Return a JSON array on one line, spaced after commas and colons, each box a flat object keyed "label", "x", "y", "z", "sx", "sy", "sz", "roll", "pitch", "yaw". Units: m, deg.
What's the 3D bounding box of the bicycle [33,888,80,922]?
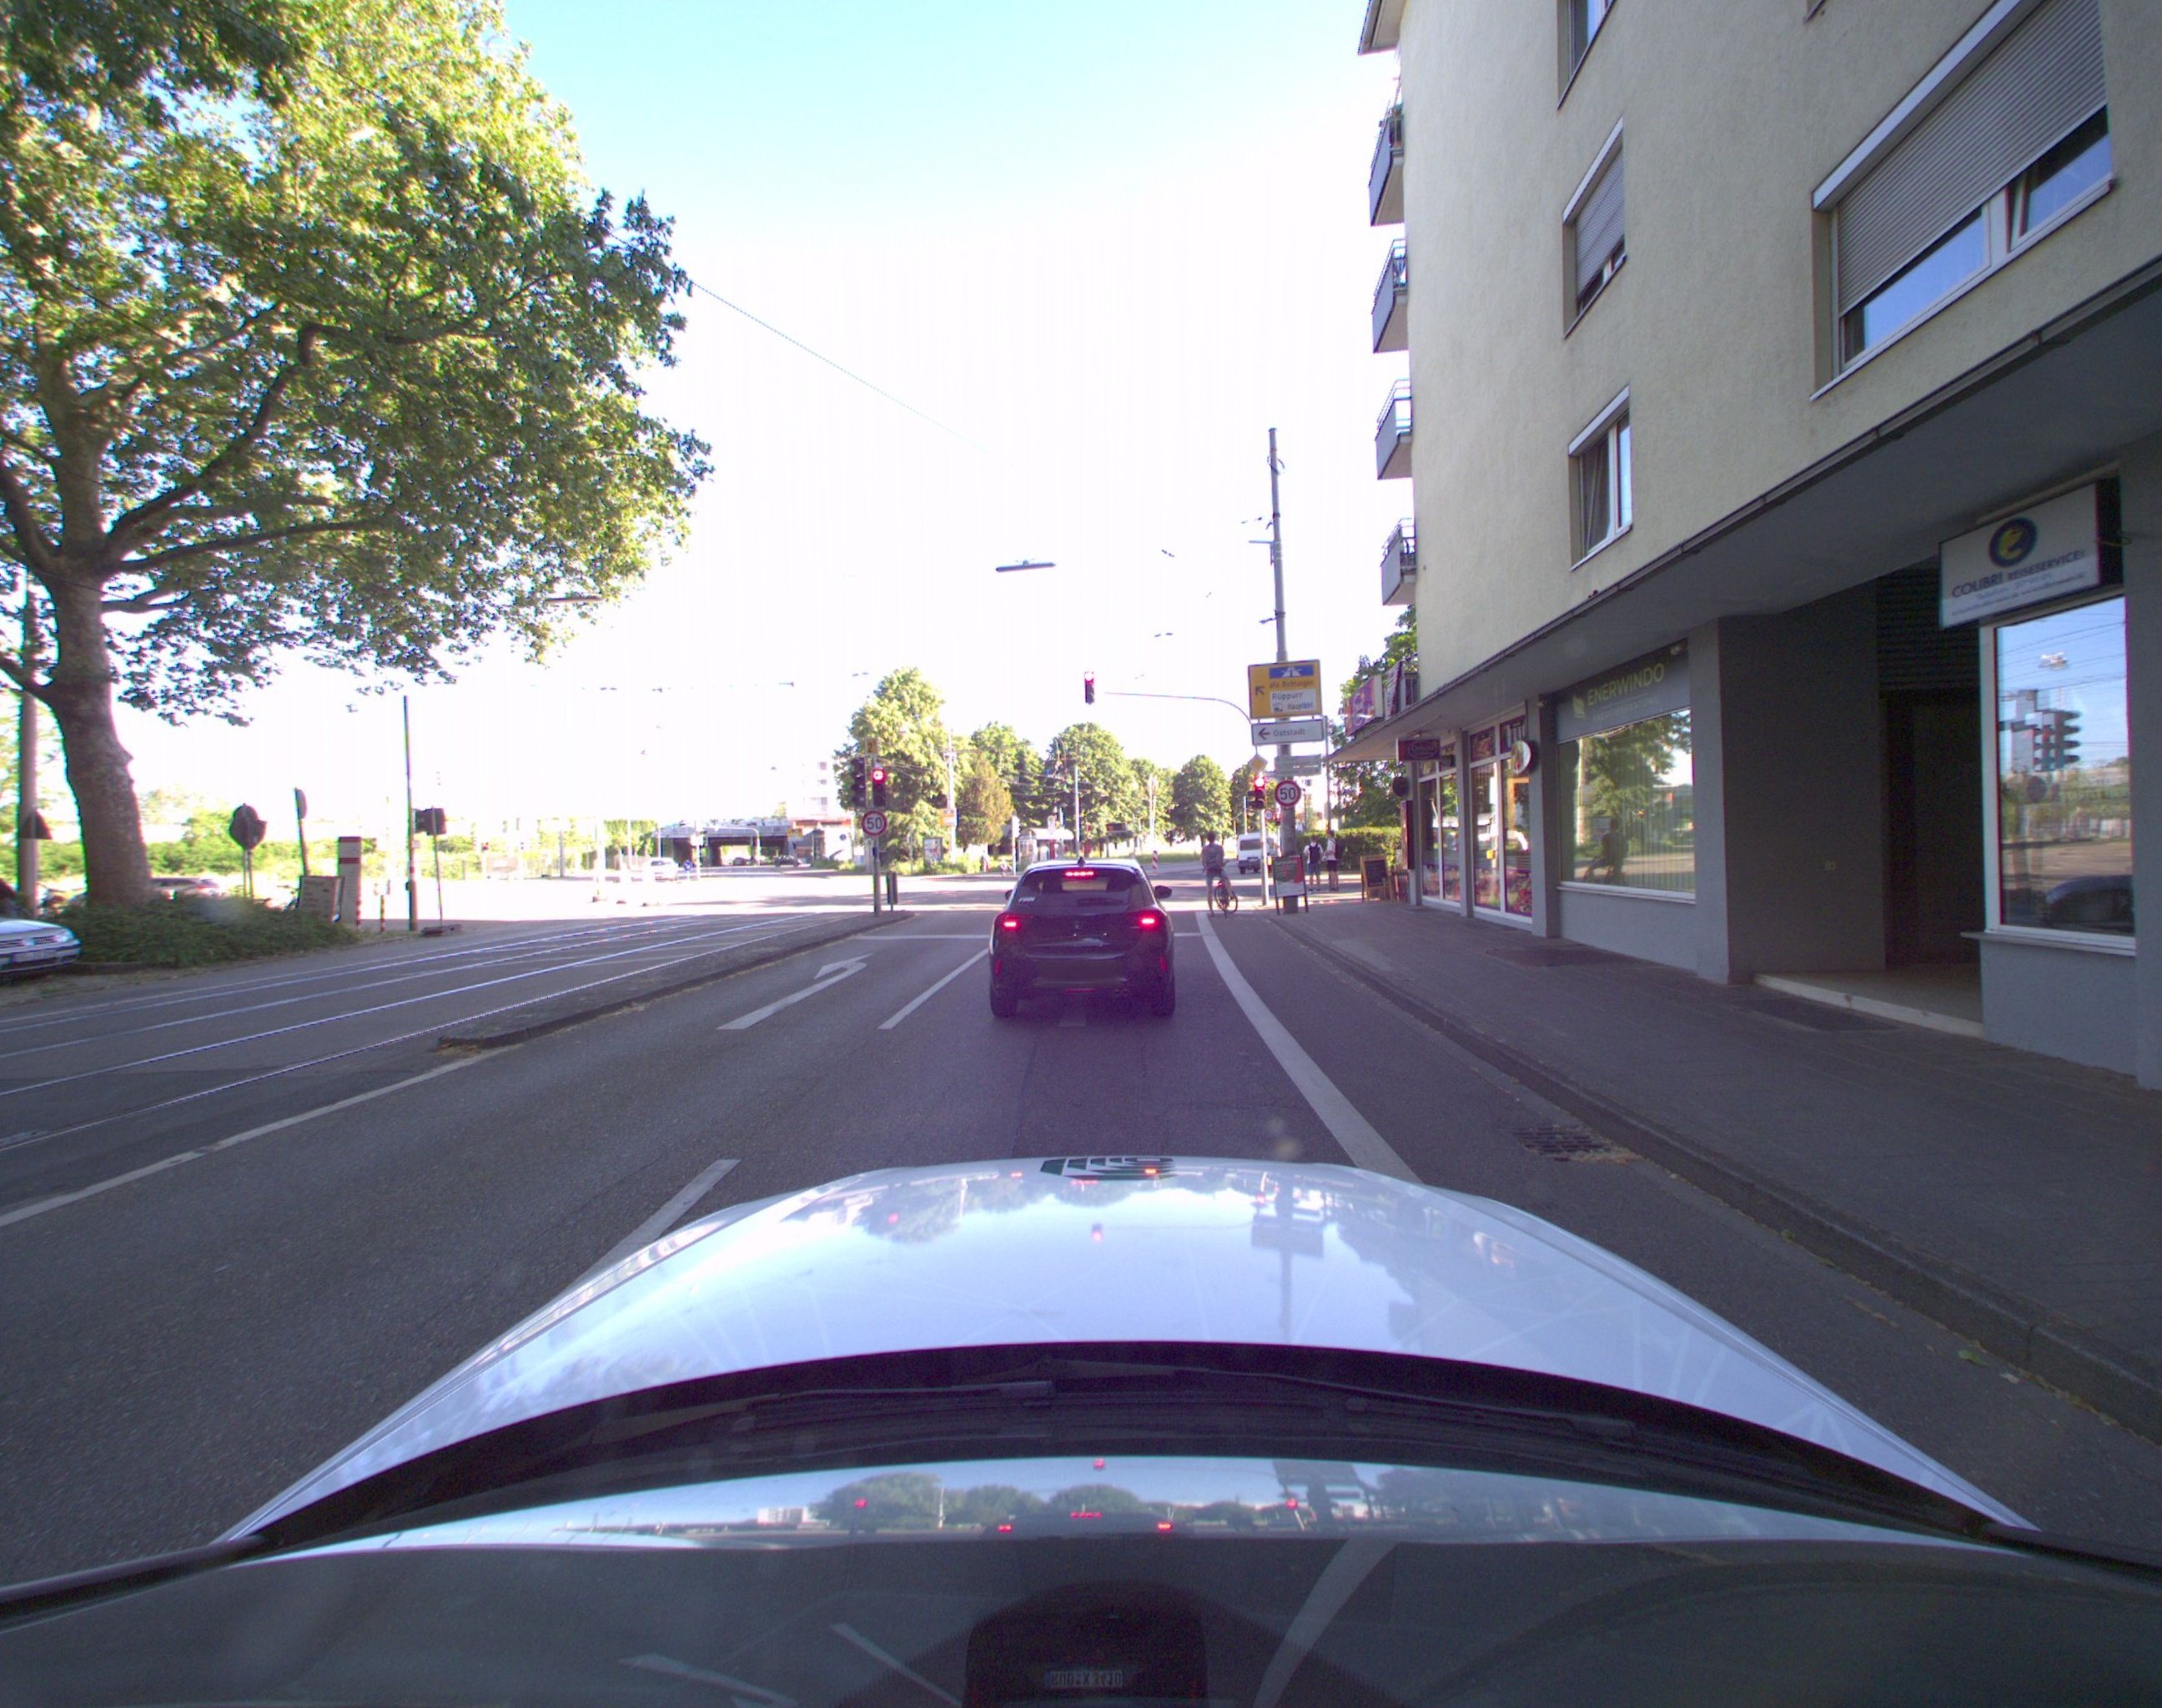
[{"label": "bicycle", "x": -25.061, "y": 1.228, "z": 19.930, "sx": 0.360, "sy": 0.759, "sz": 1.759, "roll": -2, "pitch": 0, "yaw": -40}]

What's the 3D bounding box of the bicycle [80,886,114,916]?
[{"label": "bicycle", "x": -26.319, "y": 1.251, "z": 21.780, "sx": 1.757, "sy": 0.759, "sz": 0.360, "roll": -1, "pitch": 0, "yaw": 32}]

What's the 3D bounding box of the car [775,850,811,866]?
[{"label": "car", "x": -38.119, "y": 0.528, "z": 107.855, "sx": 3.969, "sy": 2.014, "sz": 2.002, "roll": 0, "pitch": -1, "yaw": 4}]

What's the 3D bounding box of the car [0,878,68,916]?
[{"label": "car", "x": -48.397, "y": 1.932, "z": 36.003, "sx": 4.006, "sy": 1.419, "sz": 1.880, "roll": -1, "pitch": 6, "yaw": -25}]

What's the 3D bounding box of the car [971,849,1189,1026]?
[{"label": "car", "x": 0.106, "y": 0.693, "z": 8.817, "sx": 1.793, "sy": 1.441, "sz": 3.943, "roll": -2, "pitch": 0, "yaw": 3}]

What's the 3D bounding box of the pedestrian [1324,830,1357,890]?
[{"label": "pedestrian", "x": 8.119, "y": 0.181, "z": 25.480, "sx": 0.696, "sy": 1.846, "sz": 0.705, "roll": -2, "pitch": 0, "yaw": 41}]

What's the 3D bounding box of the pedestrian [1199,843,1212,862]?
[{"label": "pedestrian", "x": 12.222, "y": -0.151, "z": 79.938, "sx": 0.949, "sy": 1.793, "sz": 1.002, "roll": -2, "pitch": 0, "yaw": 27}]

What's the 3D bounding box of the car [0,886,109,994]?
[{"label": "car", "x": -16.669, "y": 1.202, "z": 11.324, "sx": 3.980, "sy": 1.417, "sz": 1.701, "roll": 0, "pitch": -1, "yaw": -5}]

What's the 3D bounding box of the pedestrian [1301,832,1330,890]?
[{"label": "pedestrian", "x": 7.335, "y": 0.214, "z": 25.472, "sx": 0.696, "sy": 1.792, "sz": 0.617, "roll": -2, "pitch": 0, "yaw": 1}]

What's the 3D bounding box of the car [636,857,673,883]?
[{"label": "car", "x": -29.624, "y": 1.079, "z": 56.468, "sx": 2.006, "sy": 1.631, "sz": 4.585, "roll": -2, "pitch": 1, "yaw": -30}]

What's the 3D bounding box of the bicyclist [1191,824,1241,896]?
[{"label": "bicyclist", "x": 2.955, "y": 0.118, "z": 17.930, "sx": 0.837, "sy": 1.510, "sz": 1.368, "roll": -2, "pitch": 0, "yaw": 0}]

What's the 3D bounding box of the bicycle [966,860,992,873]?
[{"label": "bicycle", "x": -8.050, "y": 0.975, "z": 64.185, "sx": 1.866, "sy": 0.906, "sz": 0.661, "roll": -2, "pitch": 0, "yaw": 8}]

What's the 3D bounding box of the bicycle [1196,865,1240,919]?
[{"label": "bicycle", "x": 2.986, "y": 0.796, "z": 17.919, "sx": 0.665, "sy": 1.059, "sz": 2.083, "roll": -2, "pitch": 0, "yaw": 2}]

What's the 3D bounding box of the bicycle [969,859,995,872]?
[{"label": "bicycle", "x": -7.924, "y": 0.922, "z": 65.168, "sx": 1.866, "sy": 0.906, "sz": 0.661, "roll": -2, "pitch": 0, "yaw": 8}]

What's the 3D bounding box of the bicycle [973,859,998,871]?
[{"label": "bicycle", "x": -7.747, "y": 0.927, "z": 66.035, "sx": 1.866, "sy": 0.906, "sz": 0.661, "roll": -2, "pitch": 0, "yaw": 8}]

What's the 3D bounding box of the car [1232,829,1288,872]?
[{"label": "car", "x": 10.144, "y": -0.177, "z": 45.933, "sx": 2.070, "sy": 2.277, "sz": 4.331, "roll": -1, "pitch": -1, "yaw": 26}]

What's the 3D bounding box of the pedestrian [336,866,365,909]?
[{"label": "pedestrian", "x": -27.817, "y": 1.260, "z": 31.020, "sx": 0.602, "sy": 1.596, "sz": 0.679, "roll": 0, "pitch": -1, "yaw": -24}]

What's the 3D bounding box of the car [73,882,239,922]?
[{"label": "car", "x": -40.251, "y": 2.035, "z": 35.610, "sx": 4.320, "sy": 1.531, "sz": 2.076, "roll": 0, "pitch": -1, "yaw": -31}]

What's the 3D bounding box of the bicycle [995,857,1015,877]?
[{"label": "bicycle", "x": -4.363, "y": 0.748, "z": 46.879, "sx": 0.821, "sy": 1.059, "sz": 1.885, "roll": -2, "pitch": 0, "yaw": 4}]

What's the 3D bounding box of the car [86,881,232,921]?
[{"label": "car", "x": -43.145, "y": 2.177, "z": 38.242, "sx": 4.006, "sy": 1.419, "sz": 1.880, "roll": -1, "pitch": 6, "yaw": -25}]

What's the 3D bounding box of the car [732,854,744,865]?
[{"label": "car", "x": -64.943, "y": 1.010, "z": 154.206, "sx": 2.003, "sy": 2.014, "sz": 3.967, "roll": 0, "pitch": -1, "yaw": -25}]

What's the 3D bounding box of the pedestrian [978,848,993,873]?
[{"label": "pedestrian", "x": -6.733, "y": 0.468, "z": 57.232, "sx": 0.718, "sy": 1.693, "sz": 0.705, "roll": -2, "pitch": 0, "yaw": 30}]
